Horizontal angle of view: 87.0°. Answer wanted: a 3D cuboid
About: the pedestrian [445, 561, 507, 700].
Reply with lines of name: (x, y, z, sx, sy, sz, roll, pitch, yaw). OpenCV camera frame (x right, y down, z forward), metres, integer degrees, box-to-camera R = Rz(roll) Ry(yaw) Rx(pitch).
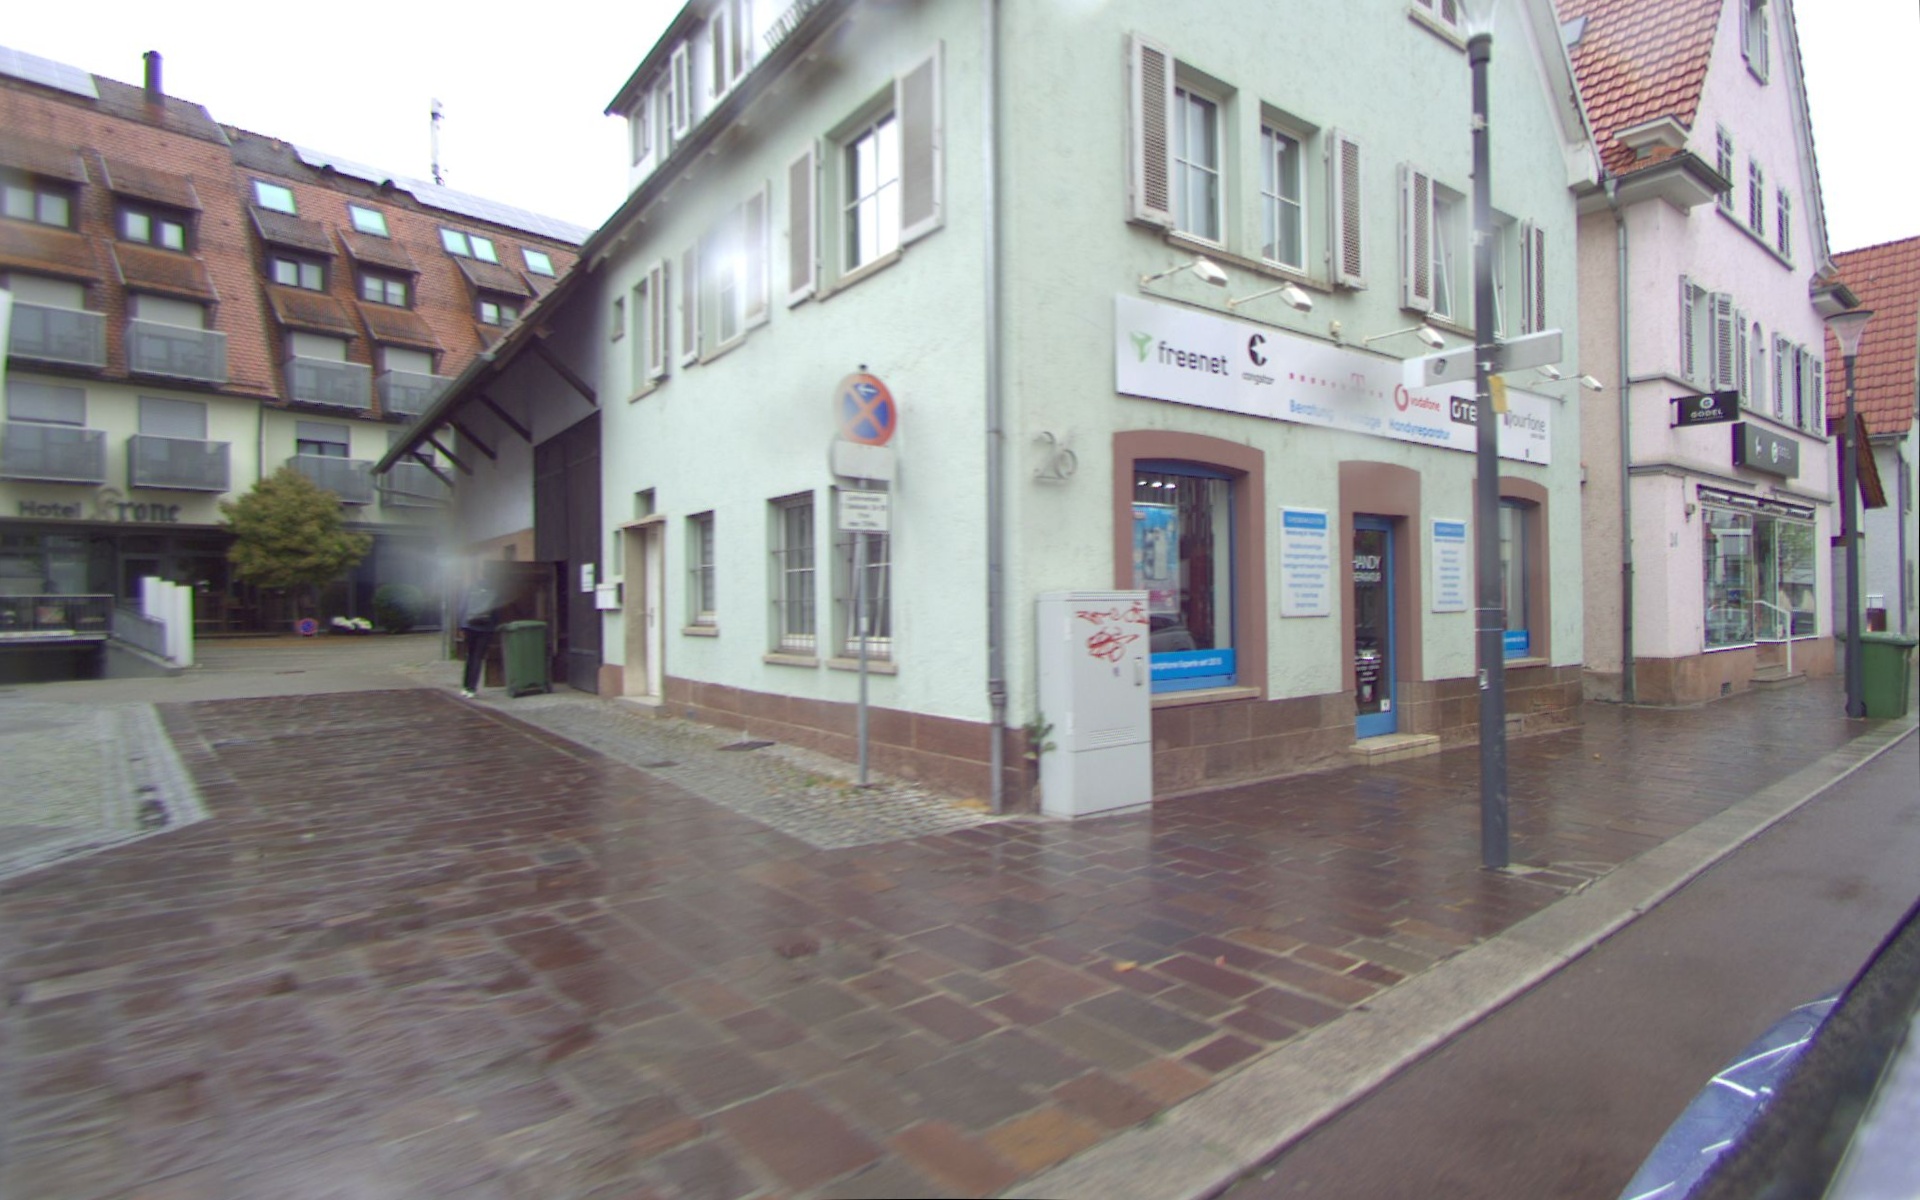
pedestrian: (-6.925, 0.422, 14.482, 0.565, 1.944, 0.509, 1, -1, 20)

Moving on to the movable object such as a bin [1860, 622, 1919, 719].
movable object such as a bin: (12.377, 0.906, 13.298, 0.563, 1.216, 0.720, -1, 0, -39)

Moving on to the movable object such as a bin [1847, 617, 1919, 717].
movable object such as a bin: (11.869, 0.838, 12.918, 0.568, 1.216, 0.720, -1, 0, -39)

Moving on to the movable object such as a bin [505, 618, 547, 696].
movable object such as a bin: (-6.363, 0.821, 14.832, 0.534, 1.094, 0.567, -1, 0, -25)
